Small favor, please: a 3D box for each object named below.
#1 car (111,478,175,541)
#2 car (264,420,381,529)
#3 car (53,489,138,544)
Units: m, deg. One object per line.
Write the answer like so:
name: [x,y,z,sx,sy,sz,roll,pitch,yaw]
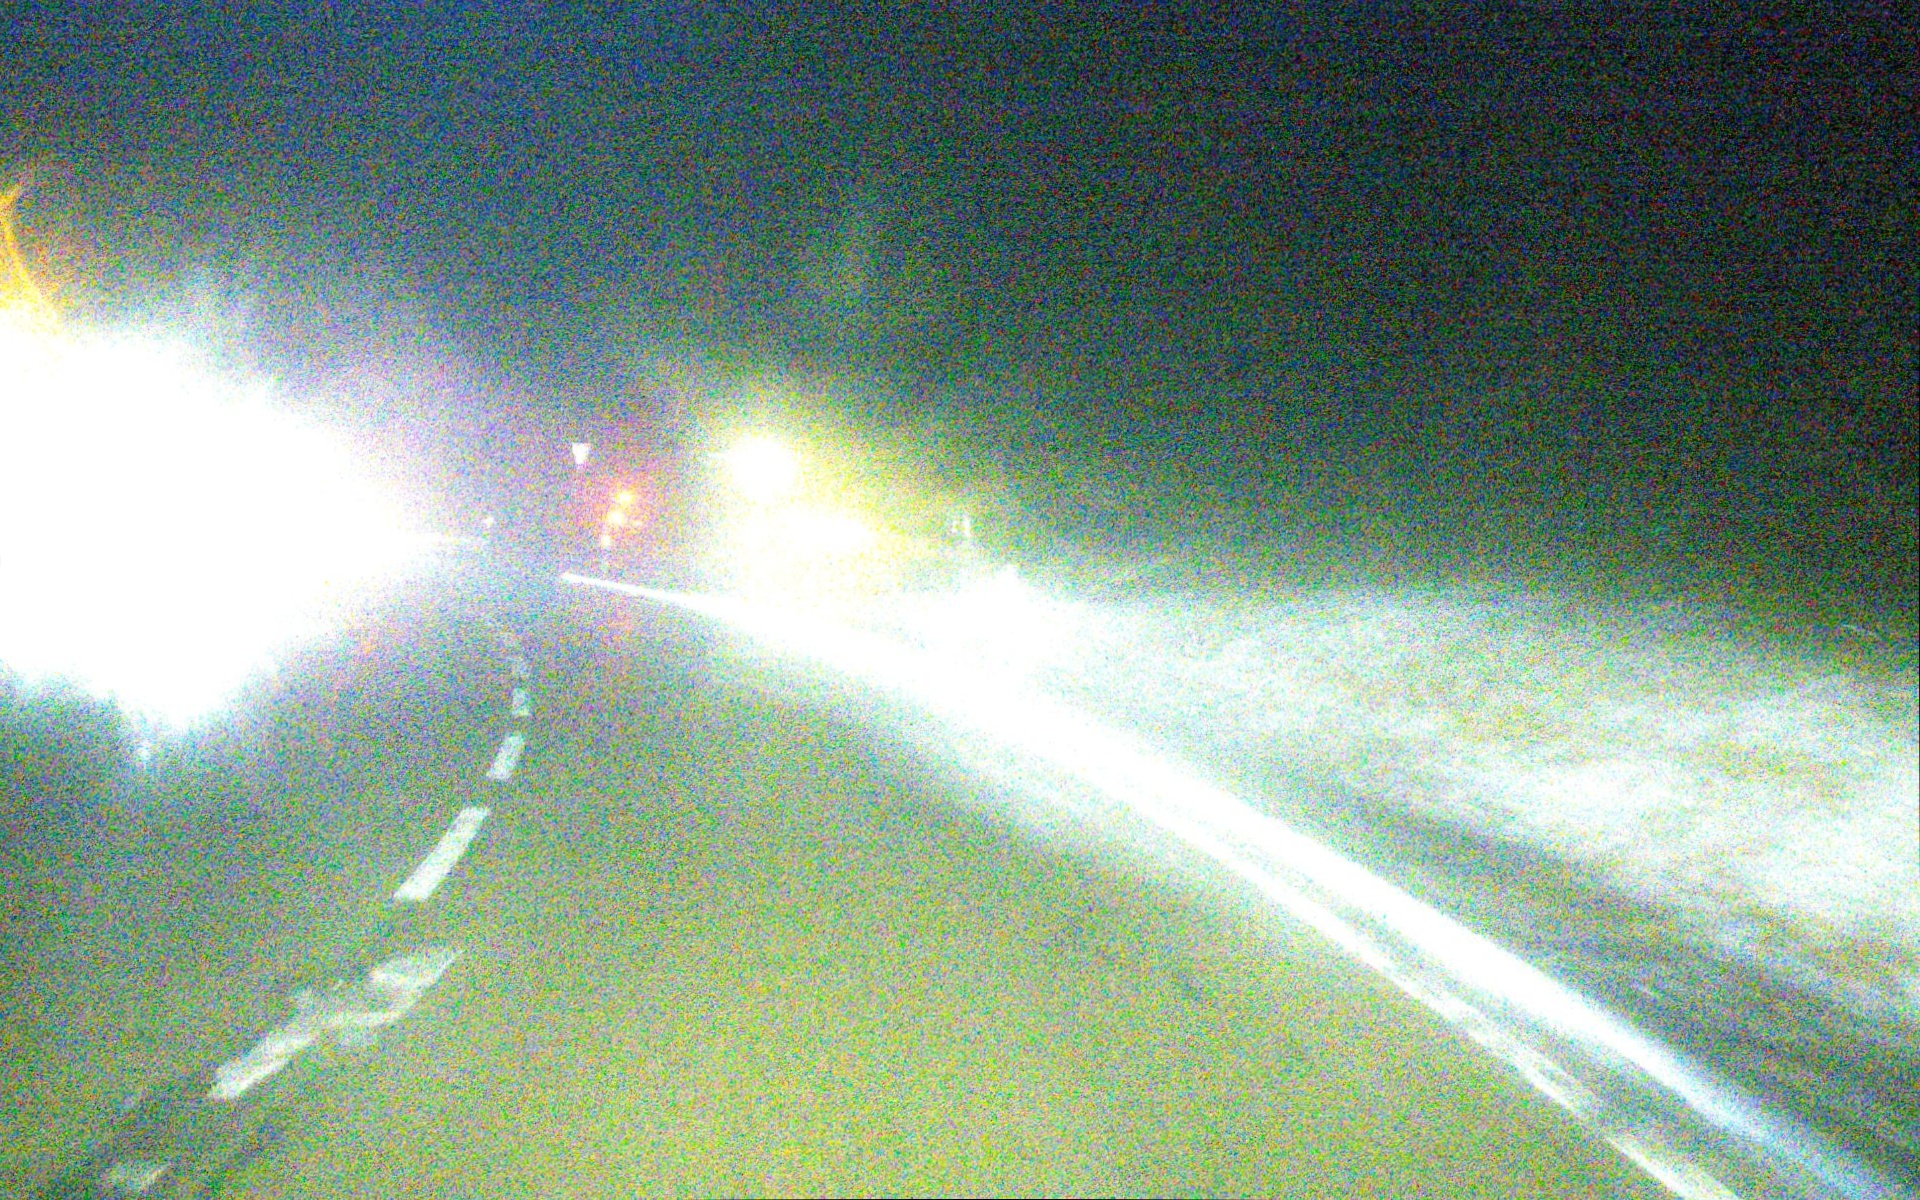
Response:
car: [-27.625,-3.054,116.344,1.993,2.007,4.001,2,1,-13]
car: [-16.876,-3.344,90.775,2.538,2.489,5.718,2,5,-15]
car: [-25.889,-2.495,102.853,1.955,1.517,4.400,2,1,-21]
